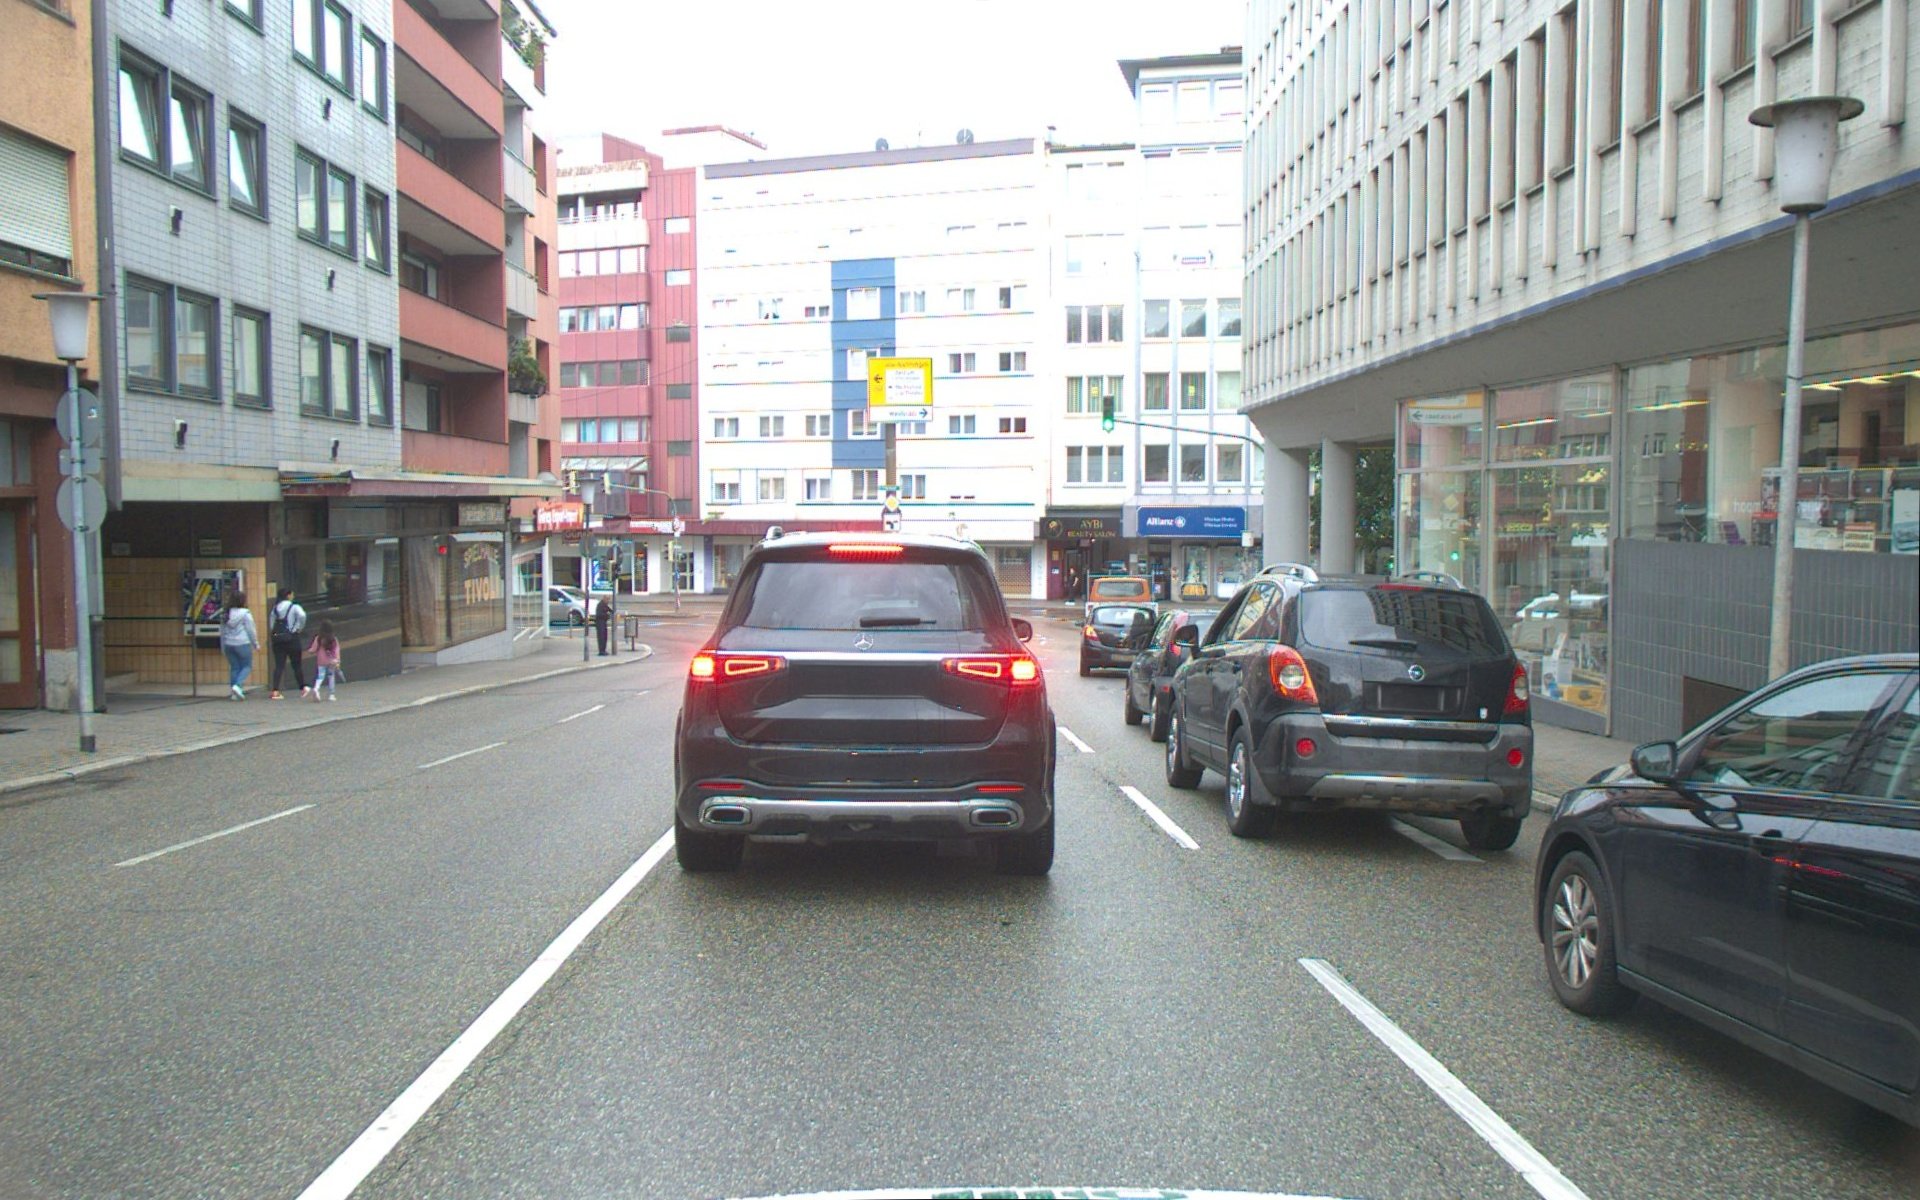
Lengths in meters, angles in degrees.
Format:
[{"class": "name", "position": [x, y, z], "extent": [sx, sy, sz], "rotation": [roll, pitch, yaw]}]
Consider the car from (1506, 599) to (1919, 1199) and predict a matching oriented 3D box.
[{"class": "car", "position": [3.233, 0.803, 4.977], "extent": [1.655, 1.503, 3.998], "rotation": [3, 0, -3]}]

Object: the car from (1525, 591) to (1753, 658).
[{"class": "car", "position": [16.288, 0.551, 39.810], "extent": [4.763, 1.520, 1.847], "rotation": [0, 0, 41]}]

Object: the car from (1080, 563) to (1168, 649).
[{"class": "car", "position": [4.618, 0.171, 47.318], "extent": [2.195, 2.267, 5.430], "rotation": [1, 0, 3]}]

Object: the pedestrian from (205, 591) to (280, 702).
[{"class": "pedestrian", "position": [-10.598, 0.679, 24.464], "extent": [0.812, 1.588, 0.722], "rotation": [2, 0, -10]}]

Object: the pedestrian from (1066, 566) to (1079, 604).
[{"class": "pedestrian", "position": [5.453, -0.730, 80.135], "extent": [0.552, 1.717, 0.757], "rotation": [0, 6, 5]}]

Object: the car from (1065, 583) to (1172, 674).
[{"class": "car", "position": [3.178, 0.569, 33.853], "extent": [1.785, 1.687, 4.495], "rotation": [2, -1, 1]}]

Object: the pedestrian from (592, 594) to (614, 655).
[{"class": "pedestrian", "position": [-10.168, 0.681, 47.146], "extent": [0.543, 1.727, 0.623], "rotation": [0, 0, -5]}]

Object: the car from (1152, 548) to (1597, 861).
[{"class": "car", "position": [2.679, 0.596, 11.867], "extent": [1.859, 1.724, 4.504], "rotation": [3, 0, -2]}]

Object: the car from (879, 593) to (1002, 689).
[{"class": "car", "position": [-0.338, 0.644, 28.565], "extent": [1.953, 1.512, 4.236], "rotation": [-1, 0, -1]}]

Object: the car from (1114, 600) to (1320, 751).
[{"class": "car", "position": [2.847, 0.778, 19.128], "extent": [1.731, 1.421, 4.000], "rotation": [4, 0, 1]}]

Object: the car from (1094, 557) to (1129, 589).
[{"class": "car", "position": [8.469, -1.493, 92.505], "extent": [1.759, 1.699, 4.003], "rotation": [0, 0, 8]}]

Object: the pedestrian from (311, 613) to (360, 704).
[{"class": "pedestrian", "position": [-9.511, 0.886, 25.194], "extent": [0.523, 1.346, 0.722], "rotation": [2, 0, -10]}]

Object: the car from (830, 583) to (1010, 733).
[{"class": "car", "position": [-0.504, 0.590, 19.373], "extent": [1.836, 1.521, 4.398], "rotation": [1, 0, -3]}]

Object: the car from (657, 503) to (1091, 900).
[{"class": "car", "position": [-0.494, 0.467, 10.088], "extent": [1.998, 1.830, 4.660], "rotation": [1, 0, -3]}]

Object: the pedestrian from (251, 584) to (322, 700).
[{"class": "pedestrian", "position": [-10.318, 0.637, 25.367], "extent": [0.812, 1.719, 0.722], "rotation": [2, 0, -10]}]

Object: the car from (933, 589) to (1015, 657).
[{"class": "car", "position": [0.303, 0.599, 41.596], "extent": [1.886, 1.542, 4.661], "rotation": [2, -1, -1]}]

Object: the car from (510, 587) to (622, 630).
[{"class": "car", "position": [-16.054, 0.324, 67.510], "extent": [4.073, 1.620, 1.742], "rotation": [2, 1, 14]}]

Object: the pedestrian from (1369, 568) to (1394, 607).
[{"class": "pedestrian", "position": [19.641, -0.595, 77.067], "extent": [1.008, 1.717, 0.831], "rotation": [0, 6, 8]}]
